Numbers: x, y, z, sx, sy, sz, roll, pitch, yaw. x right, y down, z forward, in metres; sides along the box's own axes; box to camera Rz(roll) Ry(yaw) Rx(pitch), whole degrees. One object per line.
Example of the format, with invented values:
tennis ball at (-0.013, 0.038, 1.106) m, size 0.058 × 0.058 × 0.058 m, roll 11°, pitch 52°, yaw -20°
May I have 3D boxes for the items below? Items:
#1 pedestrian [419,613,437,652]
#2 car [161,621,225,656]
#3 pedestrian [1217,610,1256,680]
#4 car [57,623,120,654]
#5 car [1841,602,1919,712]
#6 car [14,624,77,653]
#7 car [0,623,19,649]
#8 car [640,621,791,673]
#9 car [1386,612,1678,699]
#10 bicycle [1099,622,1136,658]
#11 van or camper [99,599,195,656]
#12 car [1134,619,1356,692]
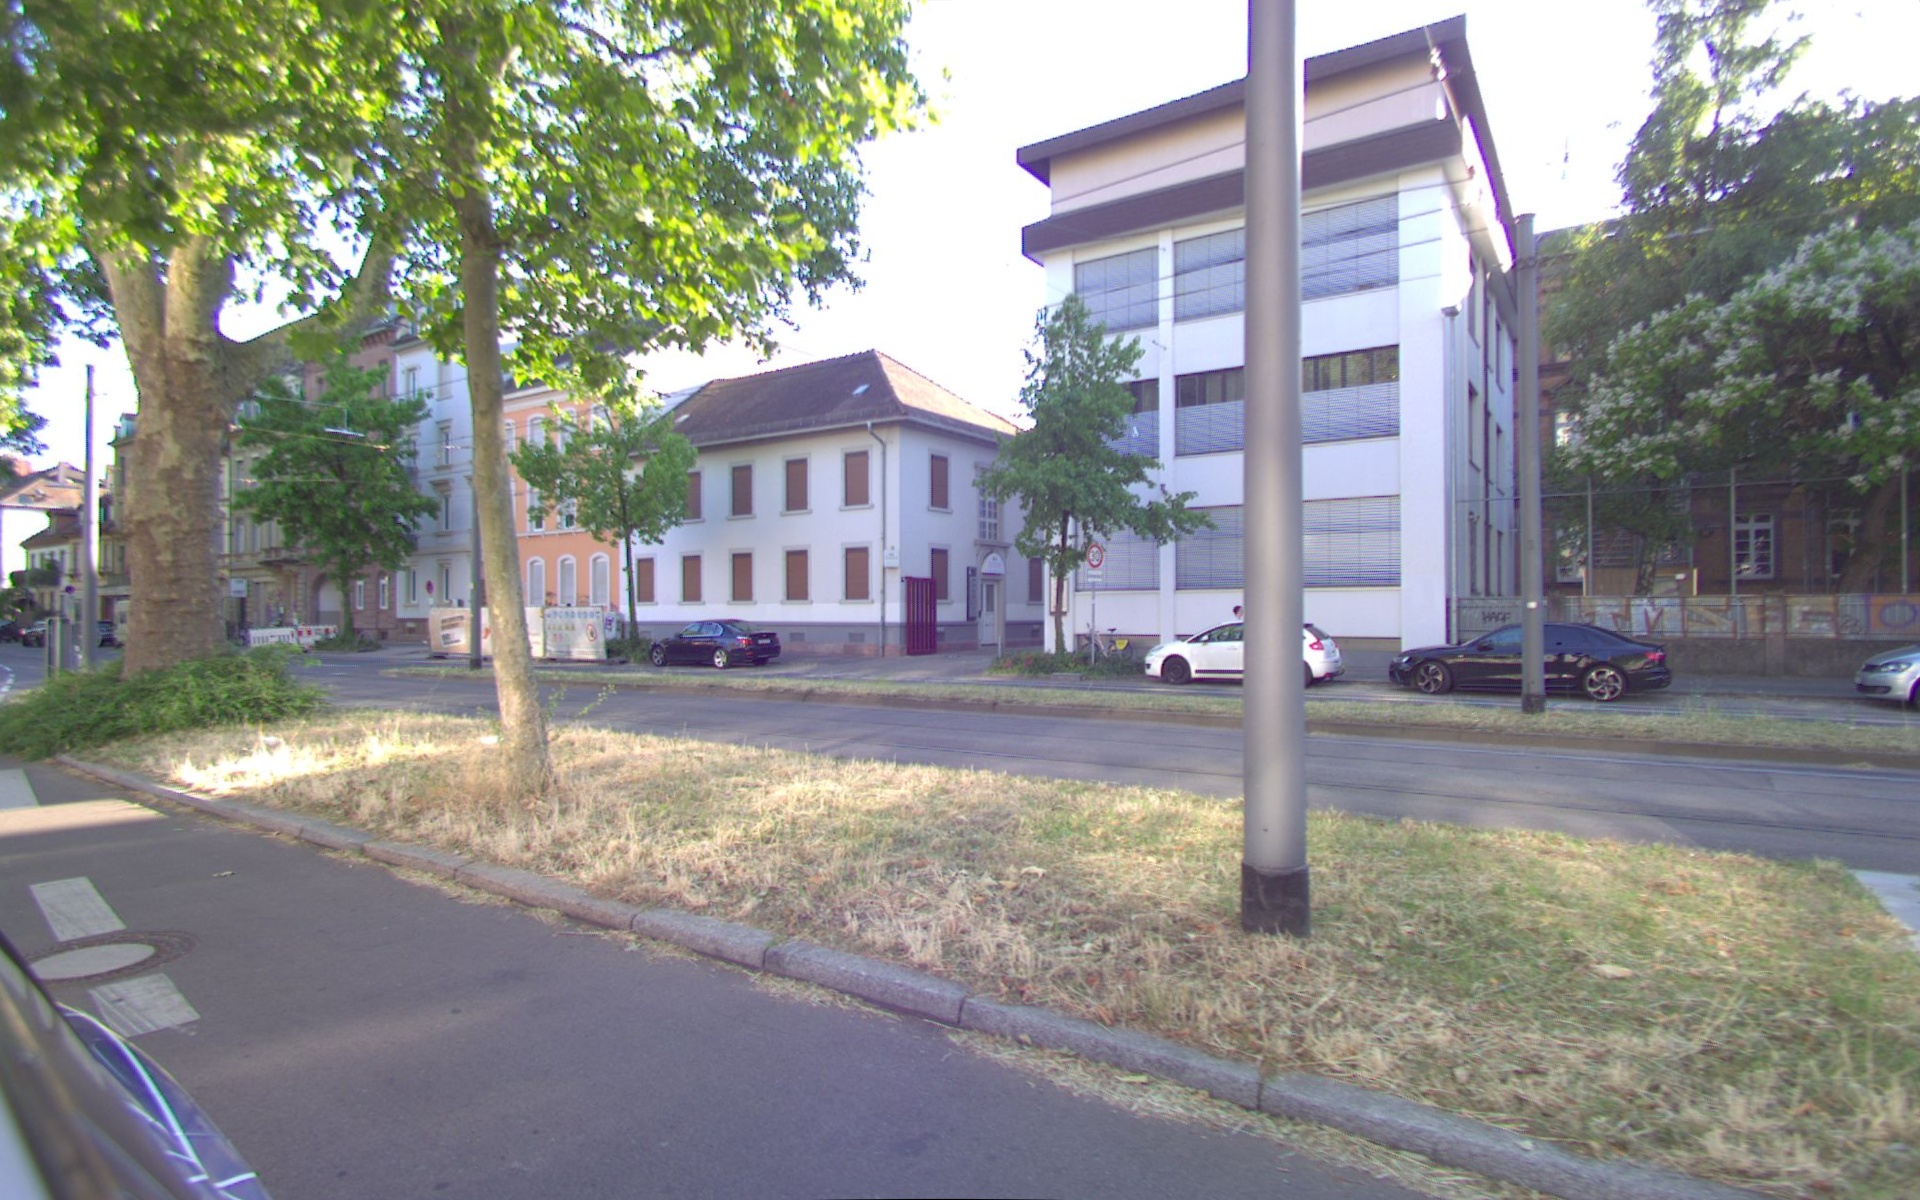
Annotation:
pedestrian at (-25.344, 1.552, 48.223) m, size 0.480 × 1.832 × 0.593 m, roll -1°, pitch -2°, yaw 35°
car at (-41.392, 2.057, 54.587) m, size 3.360 × 1.718 × 1.618 m, roll -1°, pitch 1°, yaw 32°
pedestrian at (6.617, 1.063, 24.223) m, size 0.729 × 1.633 × 0.630 m, roll -1°, pitch 0°, yaw 33°
car at (-54.532, 2.400, 63.296) m, size 4.431 × 1.718 × 1.796 m, roll -1°, pitch 2°, yaw 34°
car at (16.628, 0.869, 15.700) m, size 4.165 × 1.702 × 1.978 m, roll -1°, pitch -2°, yaw 33°
car at (-60.935, 2.527, 67.403) m, size 4.737 × 1.715 × 1.978 m, roll -1°, pitch 2°, yaw 34°
car at (-70.935, 2.662, 74.455) m, size 3.617 × 1.759 × 1.710 m, roll -1°, pitch 2°, yaw 35°
car at (-7.727, 1.436, 31.776) m, size 4.712 × 1.525 × 1.977 m, roll -1°, pitch -2°, yaw 34°
car at (10.822, 0.997, 19.370) m, size 4.636 × 1.487 × 1.978 m, roll -1°, pitch -2°, yaw 33°
bicycle at (4.493, 1.136, 28.871) m, size 1.016 × 1.010 × 0.300 m, roll -1°, pitch -2°, yaw 33°
van or camper at (-46.638, 1.546, 57.983) m, size 7.236 × 2.969 × 2.398 m, roll -1°, pitch 2°, yaw 36°
car at (6.305, 1.172, 22.563) m, size 4.392 × 1.482 × 1.978 m, roll -1°, pitch -2°, yaw 33°
